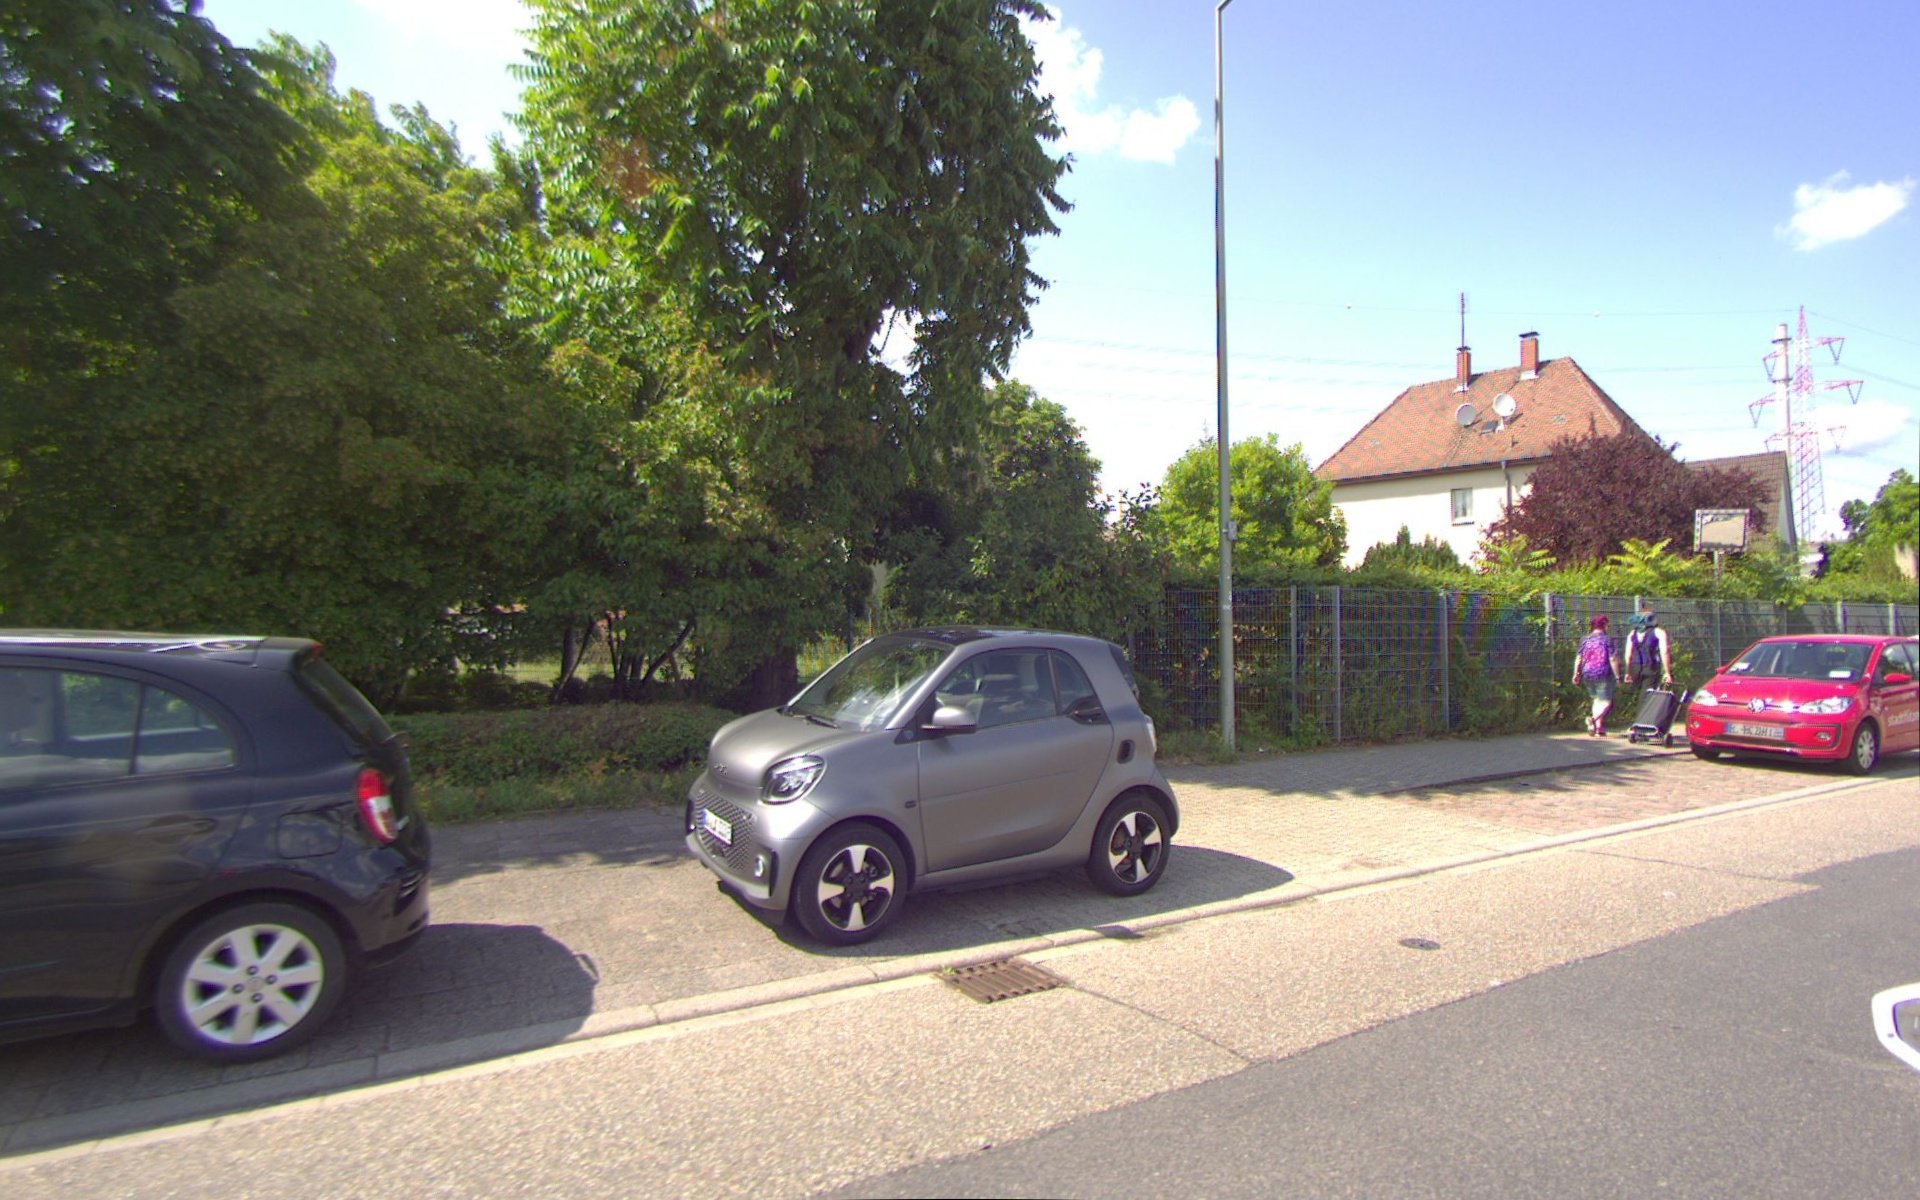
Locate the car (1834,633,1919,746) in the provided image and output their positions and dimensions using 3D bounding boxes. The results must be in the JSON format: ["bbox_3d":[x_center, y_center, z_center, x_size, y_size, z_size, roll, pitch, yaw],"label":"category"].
[{"bbox_3d":[14.334,1.212,14.338,3.982,1.496,1.637,1,-2,-31],"label":"car"}]

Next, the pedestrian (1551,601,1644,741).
[{"bbox_3d":[8.619,0.938,13.592,0.905,1.824,0.705,1,-2,-30],"label":"pedestrian"}]

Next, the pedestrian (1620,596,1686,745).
[{"bbox_3d":[9.166,0.921,13.290,0.669,1.919,0.448,1,-2,-30],"label":"pedestrian"}]

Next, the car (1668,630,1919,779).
[{"bbox_3d":[10.254,1.116,11.891,3.698,1.486,1.659,1,-1,-29],"label":"car"}]

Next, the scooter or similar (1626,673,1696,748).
[{"bbox_3d":[8.928,1.397,12.796,0.702,0.899,0.469,1,-2,-30],"label":"scooter or similar"}]

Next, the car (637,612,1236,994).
[{"bbox_3d":[-0.097,0.932,6.054,3.237,1.667,1.641,0,1,-32],"label":"car"}]

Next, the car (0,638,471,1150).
[{"bbox_3d":[-4.046,0.972,3.676,3.953,1.528,1.836,1,1,-30],"label":"car"}]
